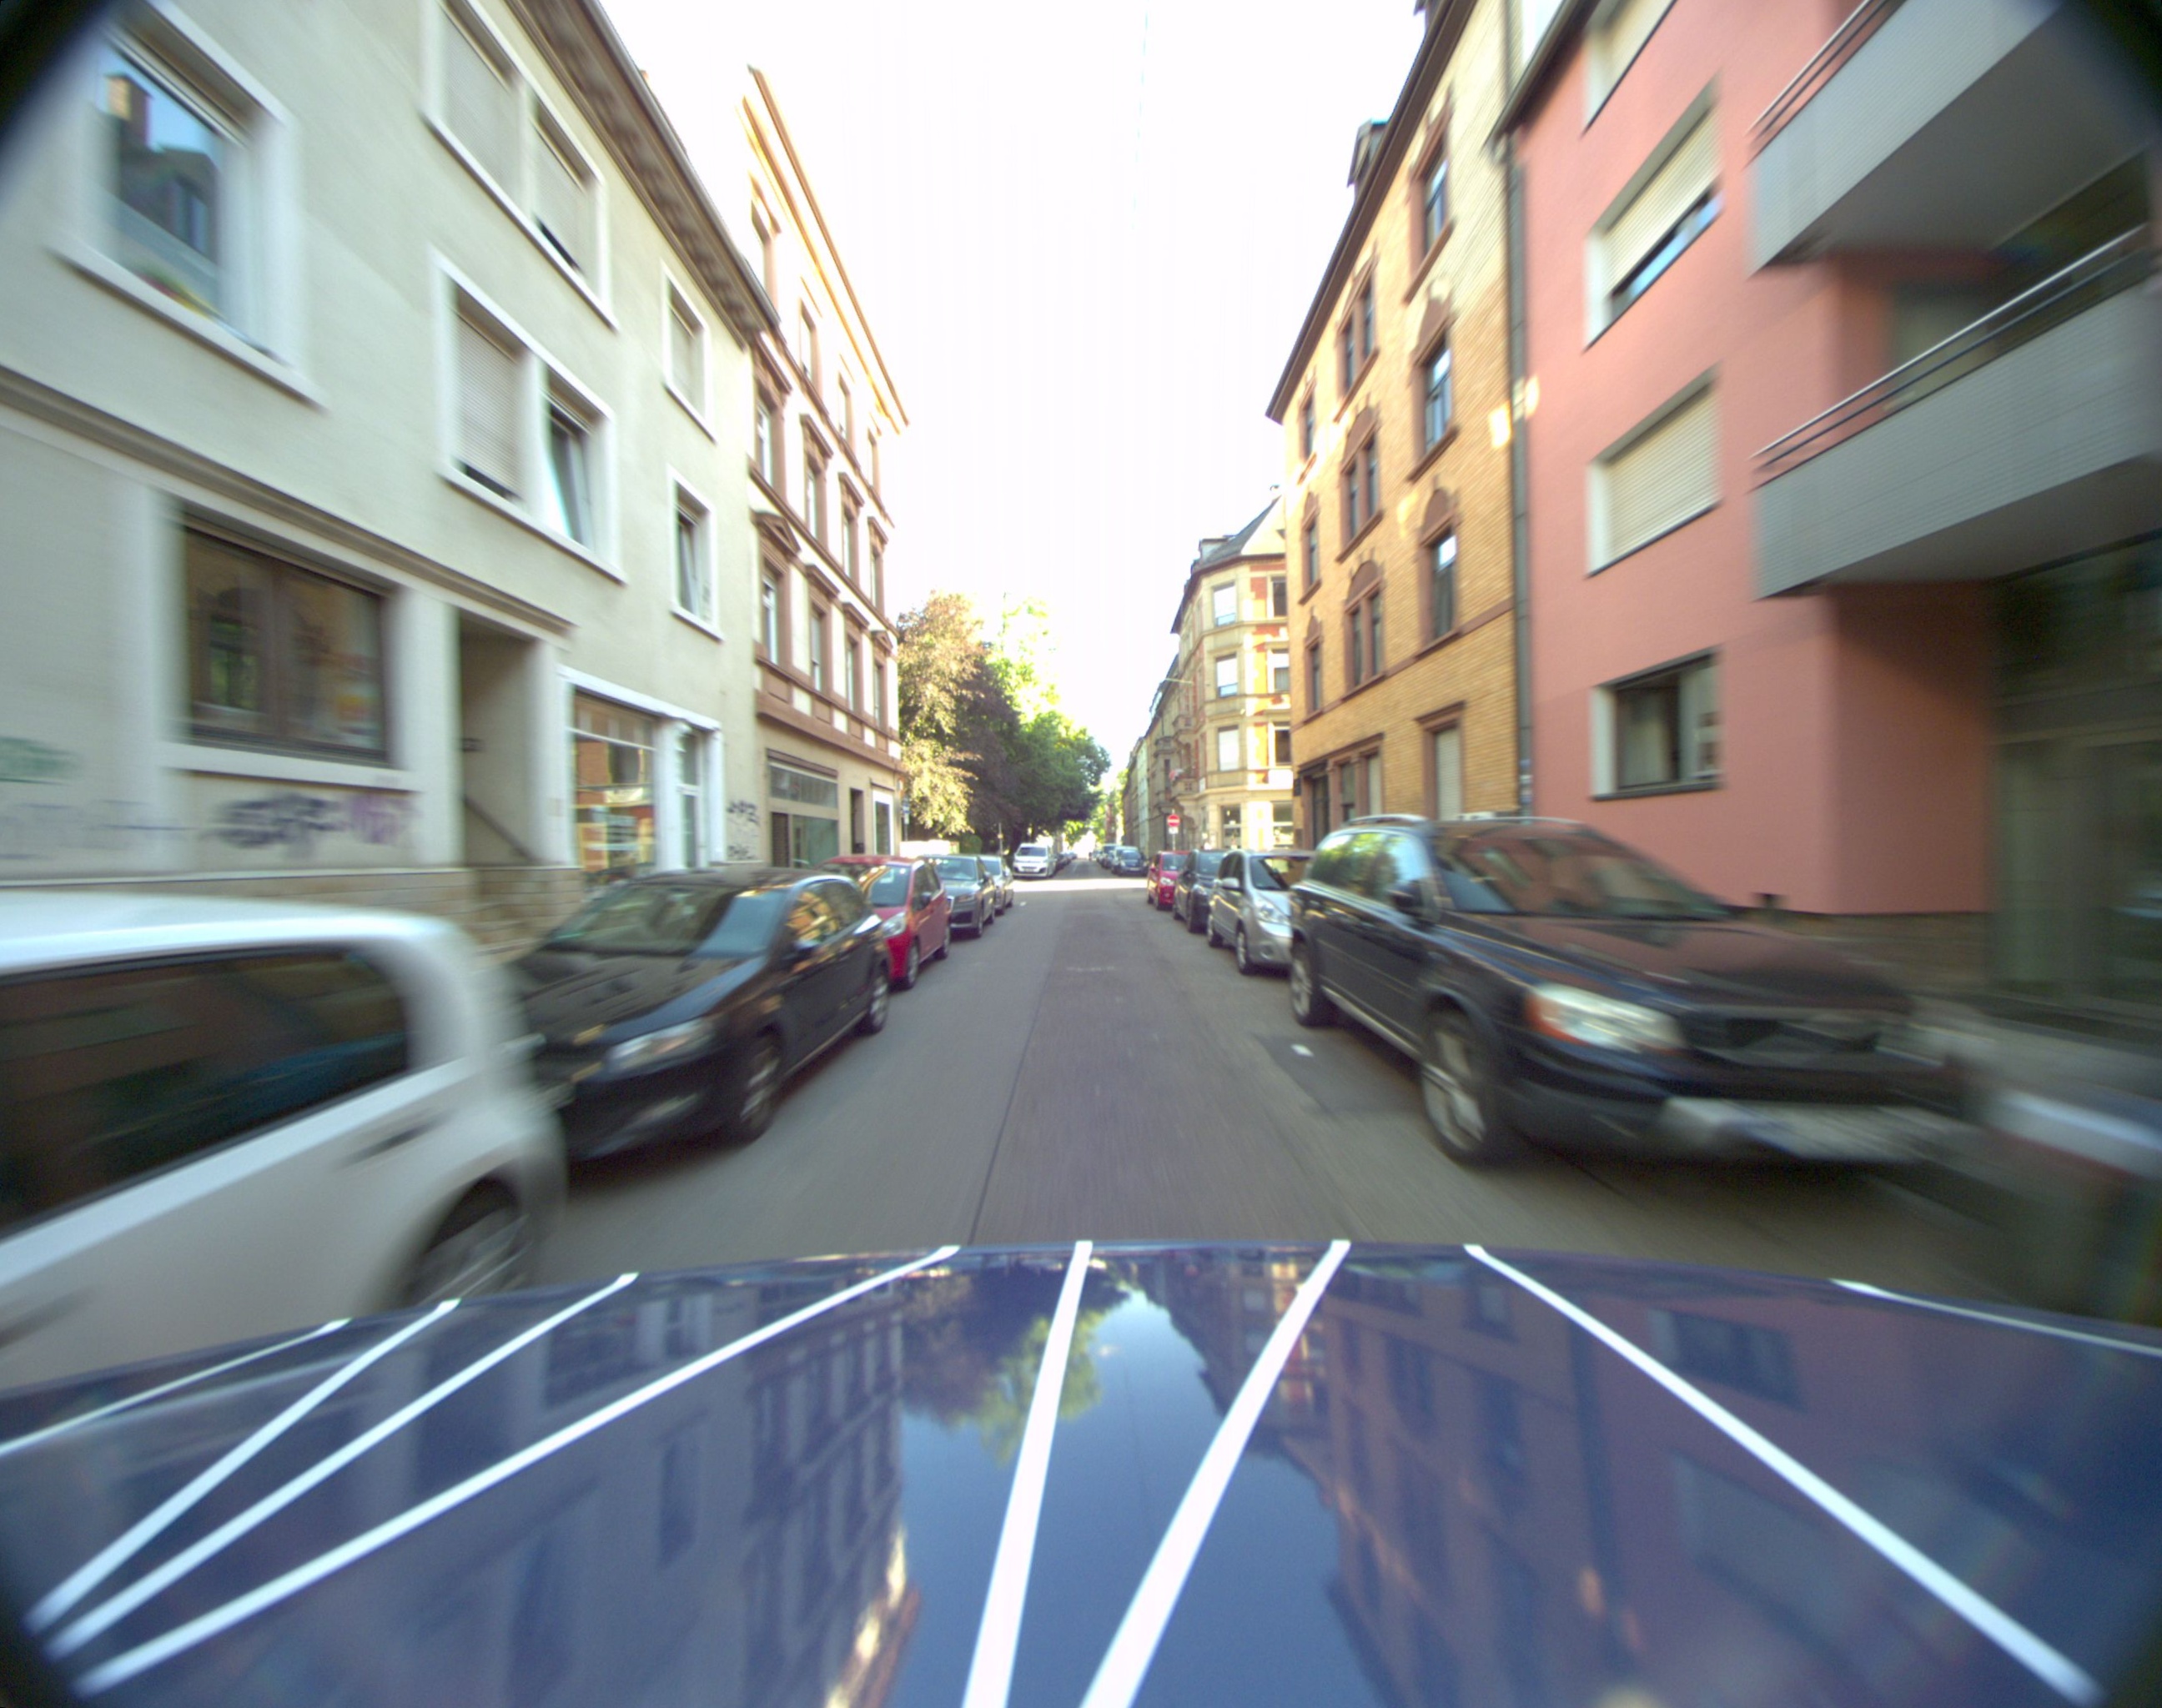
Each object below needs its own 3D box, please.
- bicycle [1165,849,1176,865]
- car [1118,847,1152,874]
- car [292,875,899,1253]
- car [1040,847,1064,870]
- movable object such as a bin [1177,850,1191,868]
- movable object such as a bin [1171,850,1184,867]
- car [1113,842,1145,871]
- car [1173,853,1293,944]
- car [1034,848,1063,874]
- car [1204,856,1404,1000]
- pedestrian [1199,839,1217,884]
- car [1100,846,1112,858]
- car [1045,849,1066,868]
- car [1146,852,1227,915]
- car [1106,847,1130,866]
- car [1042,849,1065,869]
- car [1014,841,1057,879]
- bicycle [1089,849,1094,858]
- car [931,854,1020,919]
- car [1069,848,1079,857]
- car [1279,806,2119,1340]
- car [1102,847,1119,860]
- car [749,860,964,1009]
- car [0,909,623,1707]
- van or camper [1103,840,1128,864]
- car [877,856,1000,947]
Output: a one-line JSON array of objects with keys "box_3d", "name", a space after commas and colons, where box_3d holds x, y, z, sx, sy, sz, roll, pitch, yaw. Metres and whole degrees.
[{"box_3d": [6.144, 0.211, 52.282, 0.572, 1.035, 1.546, -4, 1, 0], "name": "bicycle"}, {"box_3d": [3.060, 0.357, 43.845, 1.697, 1.472, 3.972, 0, 1, 0], "name": "car"}, {"box_3d": [-2.568, 0.970, 5.263, 1.680, 1.498, 3.937, 0, 1, 0], "name": "car"}, {"box_3d": [-2.226, 0.291, 59.099, 1.622, 1.615, 3.863, 3, 1, 1], "name": "car"}, {"box_3d": [6.012, 0.294, 44.546, 0.639, 1.035, 0.856, -4, 1, 0], "name": "movable object such as a bin"}, {"box_3d": [5.959, 0.268, 46.791, 0.639, 1.035, 0.856, -4, 1, 0], "name": "movable object such as a bin"}, {"box_3d": [3.081, 0.150, 49.342, 1.836, 1.801, 4.571, 0, 1, 0], "name": "car"}, {"box_3d": [2.825, 0.748, 14.968, 1.699, 1.512, 4.096, 0, 1, 2], "name": "car"}, {"box_3d": [-2.068, 0.425, 48.640, 1.723, 1.562, 3.827, -2, 1, -2], "name": "car"}, {"box_3d": [2.742, 0.808, 10.236, 1.660, 1.512, 3.944, 0, 1, 2], "name": "car"}, {"box_3d": [4.838, 0.269, 28.968, 0.549, 1.635, 0.717, -2, 3, 0], "name": "pedestrian"}, {"box_3d": [3.546, -0.276, 107.877, 1.713, 1.665, 4.277, 1, 1, 1], "name": "car"}, {"box_3d": [-2.295, 0.381, 68.324, 1.680, 1.433, 4.693, 3, 1, -4], "name": "car"}, {"box_3d": [2.665, 0.690, 19.913, 1.632, 1.472, 3.600, 0, 1, 0], "name": "car"}, {"box_3d": [3.077, 0.192, 63.797, 1.771, 1.505, 4.192, 0, 1, 0], "name": "car"}, {"box_3d": [-2.263, 0.392, 63.360, 1.622, 1.478, 3.776, 3, 1, 2], "name": "car"}, {"box_3d": [-2.478, 0.281, 42.619, 1.919, 1.987, 4.792, 0, 1, 3], "name": "car"}, {"box_3d": [1.492, -0.078, 107.751, 0.572, 1.236, 1.844, -5, 1, -1], "name": "bicycle"}, {"box_3d": [-2.670, 0.764, 20.125, 1.748, 1.498, 4.357, 0, 1, 0], "name": "car"}, {"box_3d": [-1.277, -0.231, 144.080, 1.845, 1.643, 4.000, 0, 1, 1], "name": "car"}, {"box_3d": [2.683, 0.721, 4.919, 1.747, 1.800, 4.672, 0, 1, 2], "name": "car"}, {"box_3d": [3.353, -0.059, 86.878, 1.735, 1.447, 4.521, 0, 1, 0], "name": "car"}, {"box_3d": [-2.675, 0.862, 10.059, 1.602, 1.498, 4.184, 0, 1, 0], "name": "car"}, {"box_3d": [-2.654, 0.984, 1.032, 1.680, 1.498, 3.937, 0, 1, 0], "name": "car"}, {"box_3d": [3.174, -0.200, 70.094, 2.182, 2.135, 5.154, 0, 1, 2], "name": "van or camper"}, {"box_3d": [-2.648, 0.827, 14.995, 1.748, 1.498, 4.020, 0, 1, -1], "name": "car"}]
